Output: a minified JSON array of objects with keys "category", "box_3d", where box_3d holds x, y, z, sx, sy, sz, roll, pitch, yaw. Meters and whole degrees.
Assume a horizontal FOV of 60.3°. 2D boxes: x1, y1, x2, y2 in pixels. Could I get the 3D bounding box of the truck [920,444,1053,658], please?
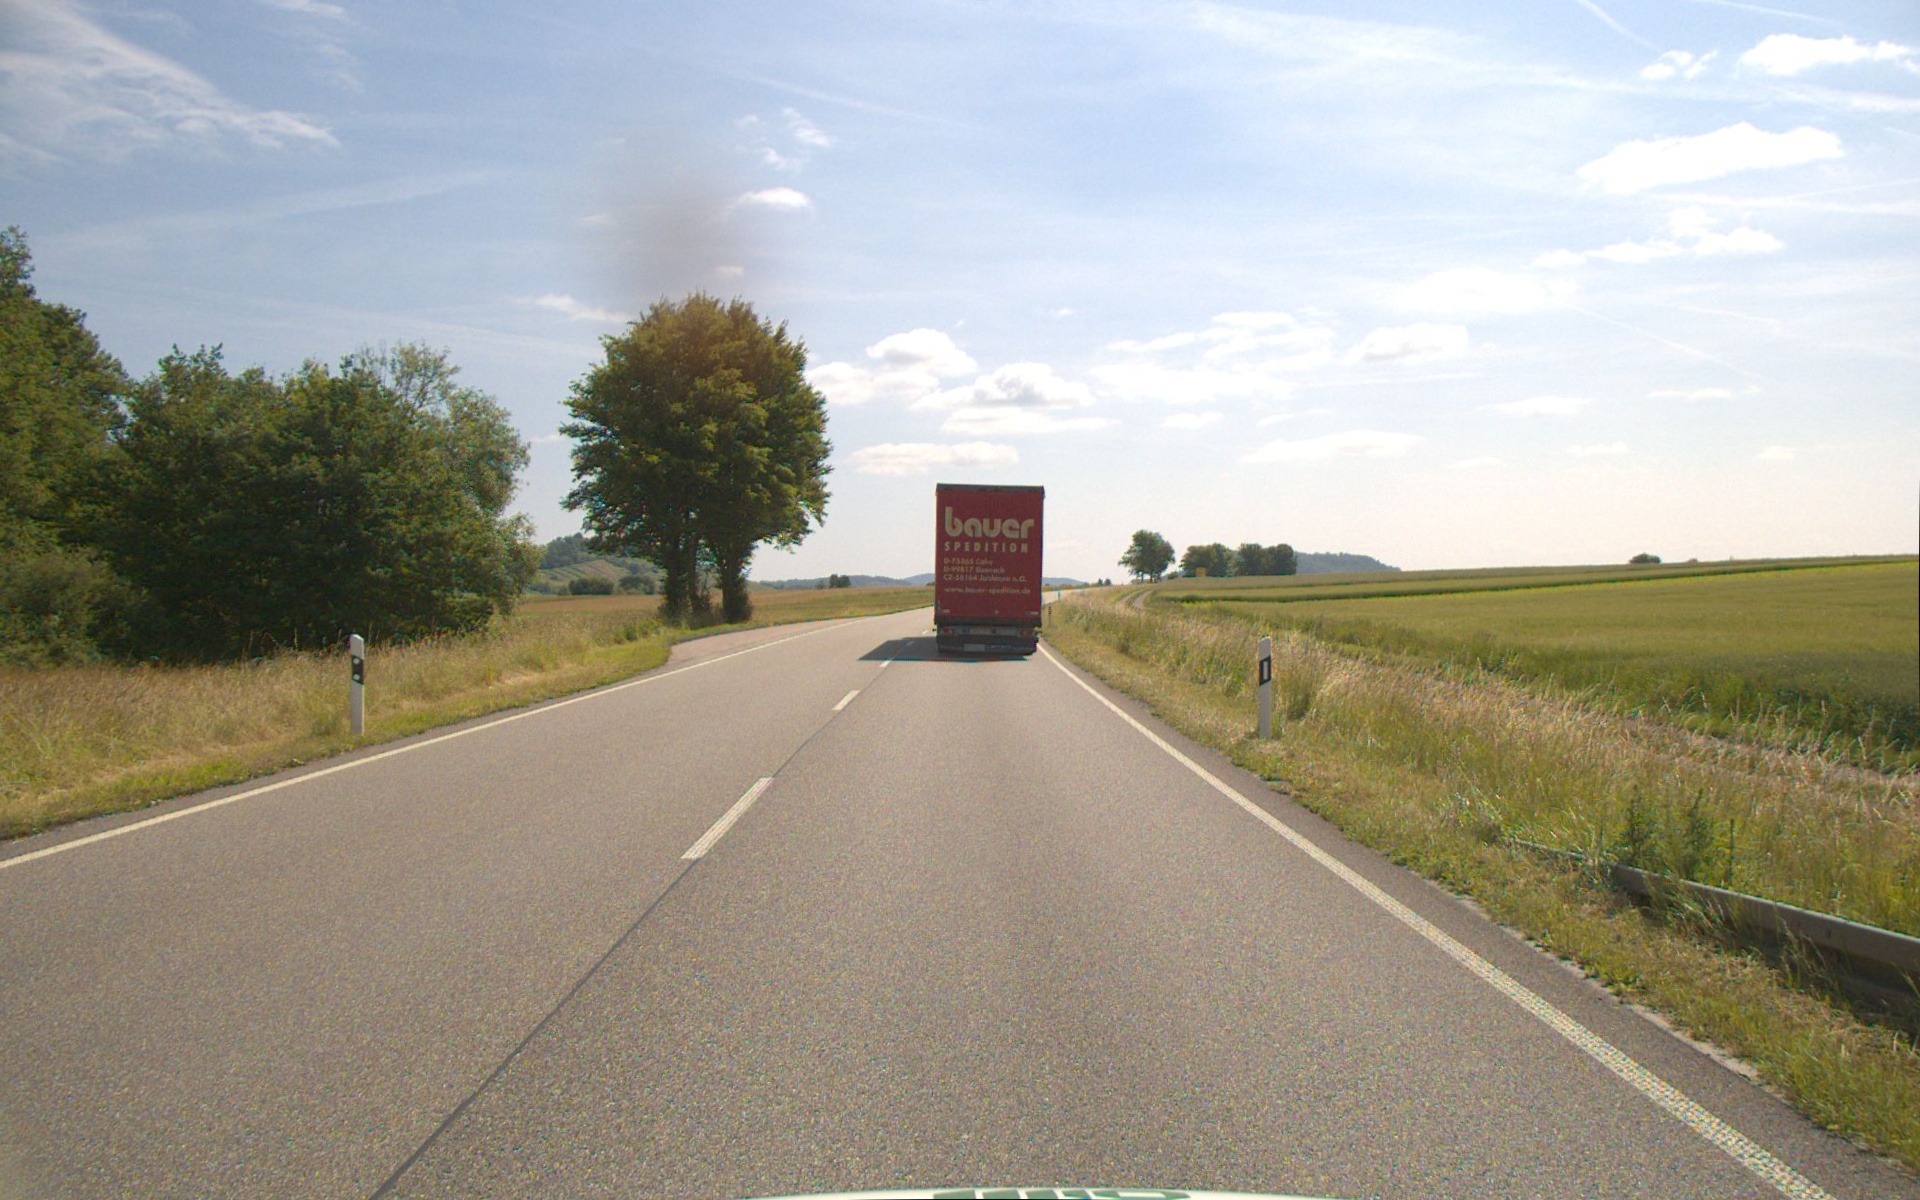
[{"category":"truck","box_3d":[0.488,-1.097,42.413,2.915,4.796,9.362,1,0,-2]}]
